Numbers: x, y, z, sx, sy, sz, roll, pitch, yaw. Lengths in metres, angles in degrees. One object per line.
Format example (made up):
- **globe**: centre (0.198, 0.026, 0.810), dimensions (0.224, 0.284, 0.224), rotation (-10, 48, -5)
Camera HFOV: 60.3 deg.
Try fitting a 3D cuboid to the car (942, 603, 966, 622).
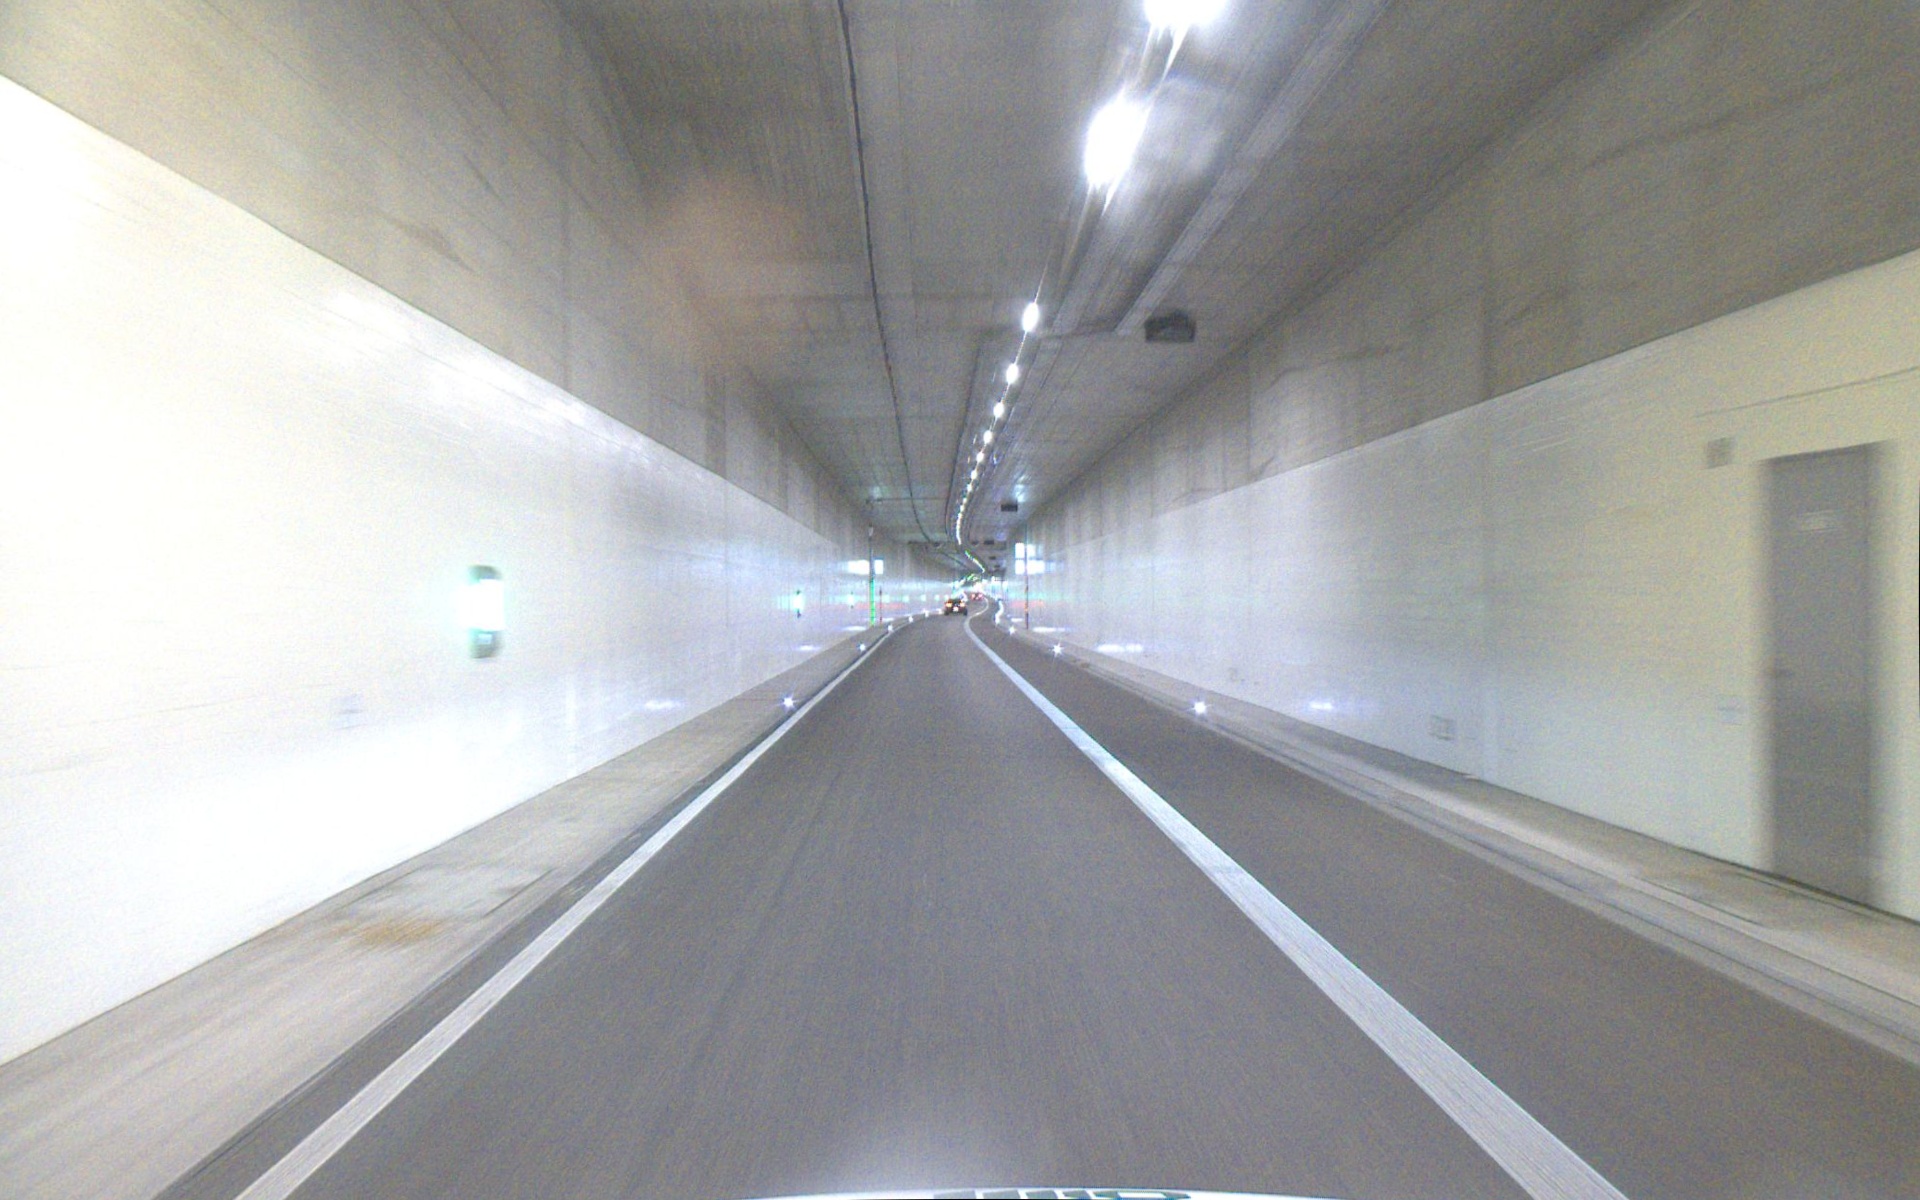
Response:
- **car**: centre (-0.511, 1.025, 137.017), dimensions (1.953, 1.445, 3.999), rotation (2, 0, -1)
